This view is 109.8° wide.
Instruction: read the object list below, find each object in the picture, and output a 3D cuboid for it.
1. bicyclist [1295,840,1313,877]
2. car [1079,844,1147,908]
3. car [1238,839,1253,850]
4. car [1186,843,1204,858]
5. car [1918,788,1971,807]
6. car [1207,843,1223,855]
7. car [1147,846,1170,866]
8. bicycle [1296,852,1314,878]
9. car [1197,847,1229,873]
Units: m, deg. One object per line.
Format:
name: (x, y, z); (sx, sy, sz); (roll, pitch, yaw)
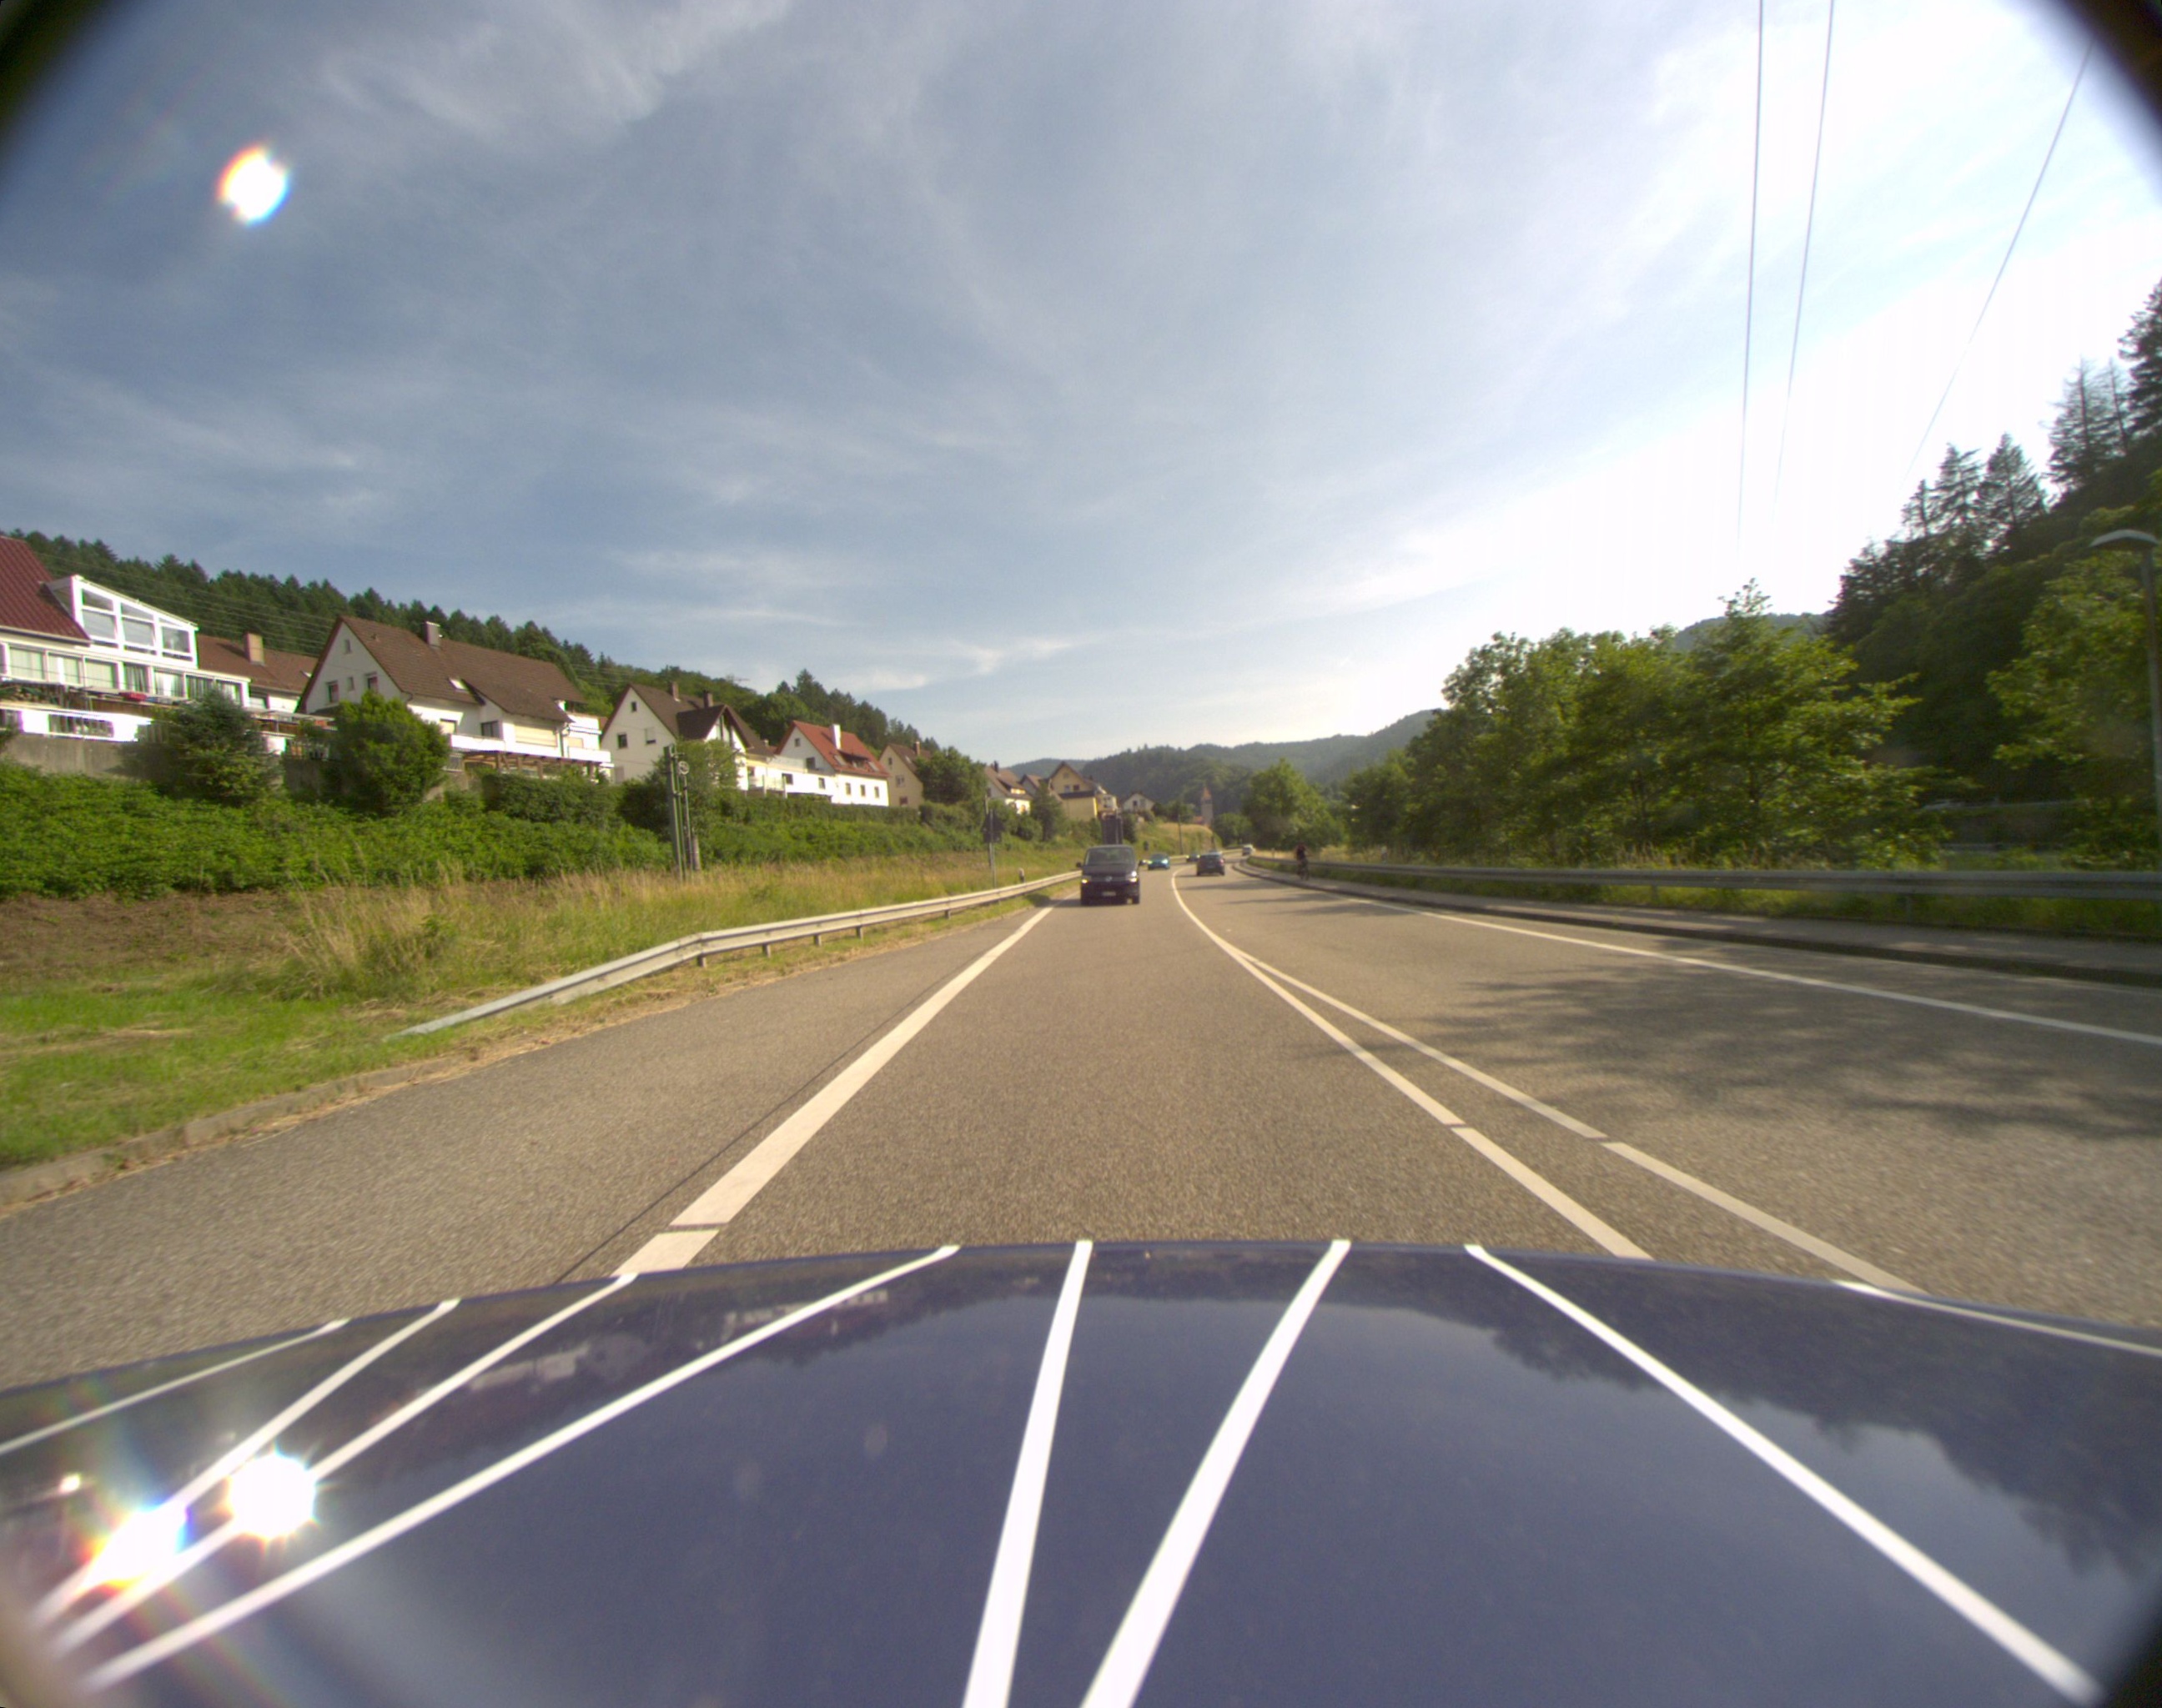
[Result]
bicyclist: (10.043, 0.194, 34.237); (0.558, 1.577, 1.036); (-7, -1, 14)
car: (1.136, 0.668, 25.596); (2.018, 1.905, 4.313); (-3, 0, 4)
car: (26.367, -1.550, 121.854); (1.997, 1.620, 4.001); (-2, 2, 9)
car: (14.770, -0.482, 98.259); (1.883, 1.735, 4.182); (-3, 0, 13)
car: (96.384, -6.295, 84.890); (1.873, 1.722, 4.003); (-7, 0, 15)
car: (20.462, -0.782, 115.765); (1.883, 1.735, 4.183); (-3, 0, 17)
car: (7.027, 0.149, 68.792); (1.884, 1.735, 4.180); (-1, 1, 8)
bicycle: (10.066, 0.488, 34.168); (0.558, 1.039, 2.231); (-7, -1, 14)
car: (8.550, 0.366, 49.341); (1.894, 1.480, 4.002); (-4, 1, 9)
